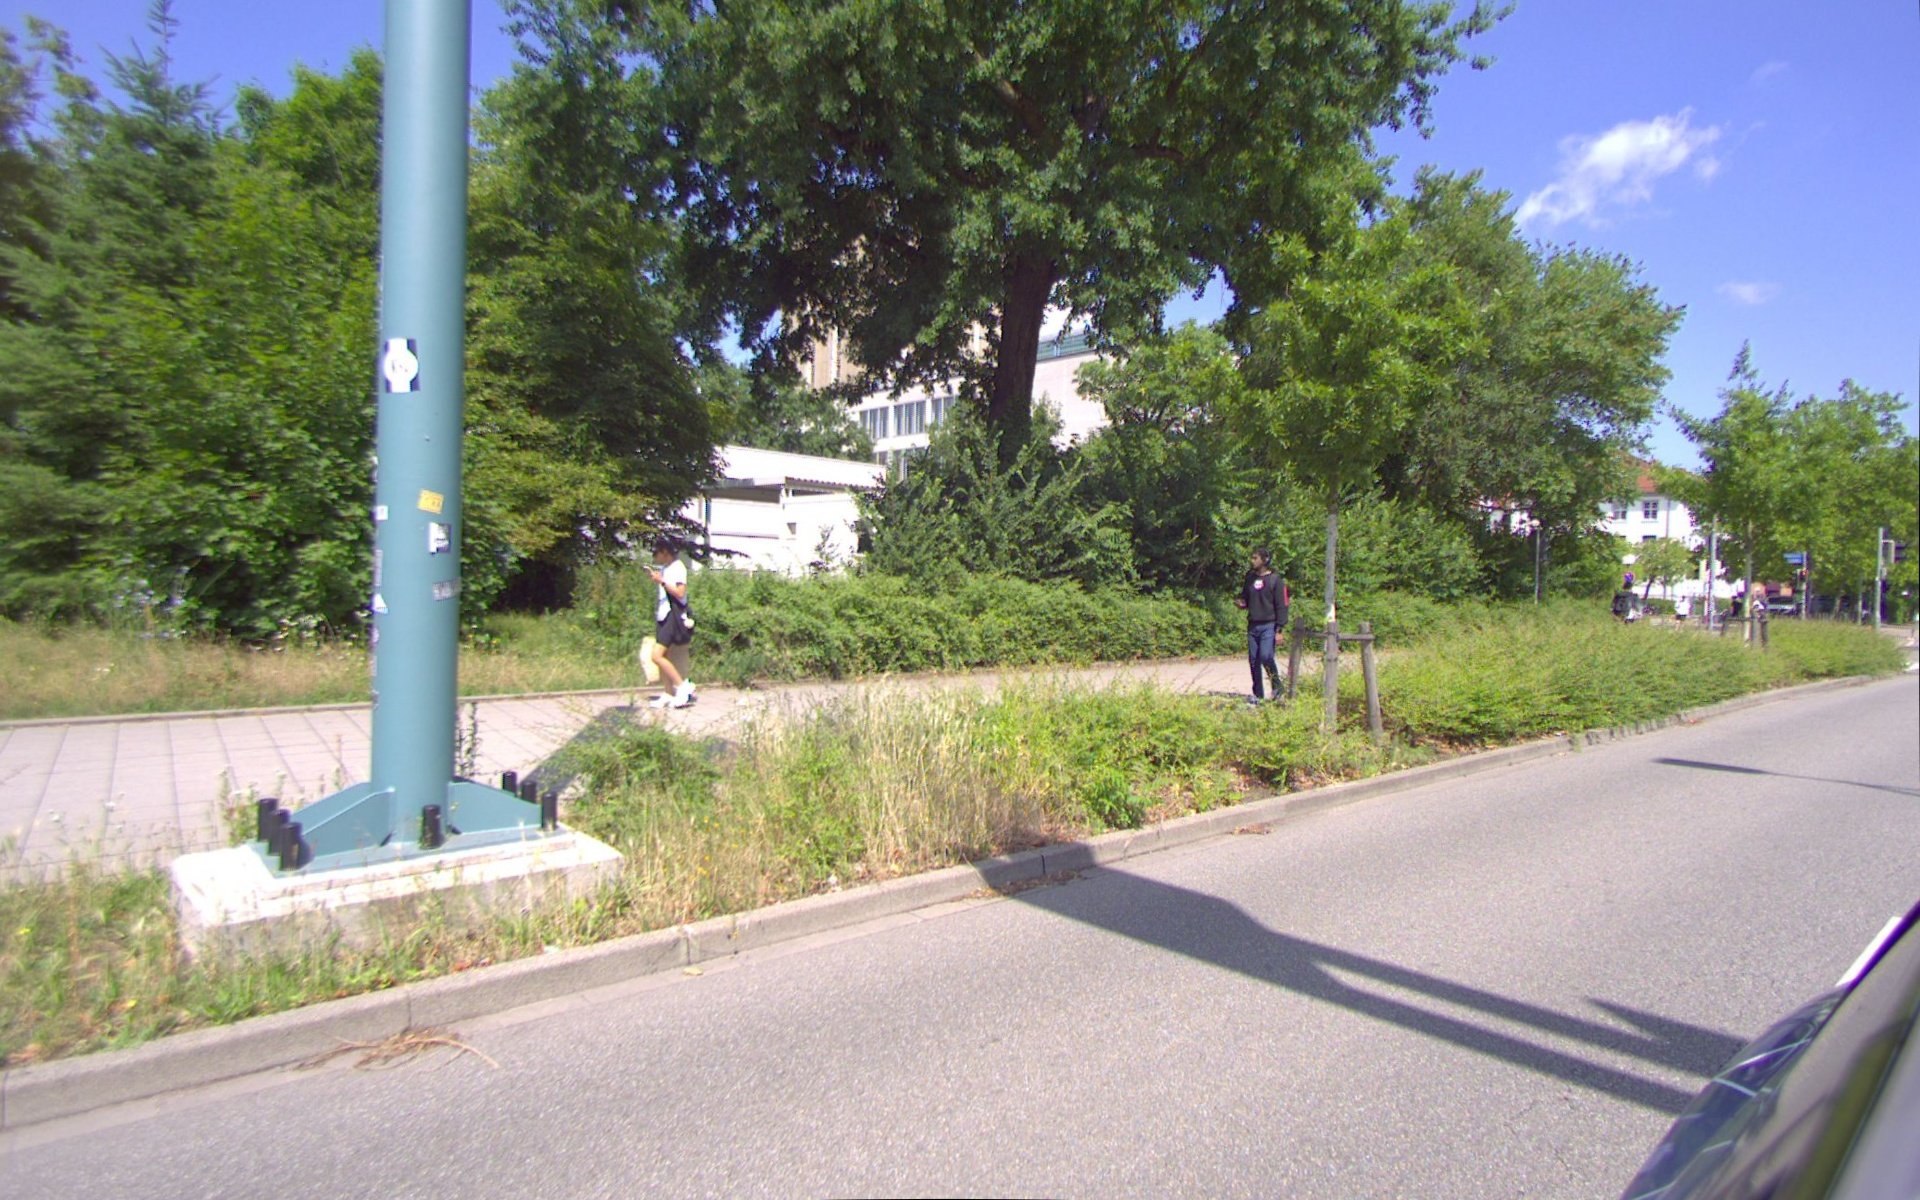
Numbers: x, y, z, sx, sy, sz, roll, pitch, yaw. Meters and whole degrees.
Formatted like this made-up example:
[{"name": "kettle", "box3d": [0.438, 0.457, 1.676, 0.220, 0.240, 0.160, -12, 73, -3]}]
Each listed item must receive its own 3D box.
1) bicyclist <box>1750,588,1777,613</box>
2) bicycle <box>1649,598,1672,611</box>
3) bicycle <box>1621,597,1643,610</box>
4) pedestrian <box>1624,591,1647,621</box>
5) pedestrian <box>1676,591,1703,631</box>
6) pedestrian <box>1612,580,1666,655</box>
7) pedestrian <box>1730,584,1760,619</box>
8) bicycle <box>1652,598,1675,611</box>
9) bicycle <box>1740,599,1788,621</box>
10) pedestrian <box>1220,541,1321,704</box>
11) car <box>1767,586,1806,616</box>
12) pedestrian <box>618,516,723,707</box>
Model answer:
[{"name": "bicyclist", "box3d": [49.542, 0.035, 62.408, 0.953, 1.462, 1.077, 1, 1, -35]}, {"name": "bicycle", "box3d": [54.825, 0.321, 79.229, 1.425, 0.963, 0.346, 2, 1, 44]}, {"name": "bicycle", "box3d": [53.720, 0.262, 80.918, 1.425, 0.963, 0.346, 2, 1, 44]}, {"name": "pedestrian", "box3d": [37.630, 0.339, 56.369, 1.057, 1.617, 0.960, 2, 1, 35]}, {"name": "pedestrian", "box3d": [34.986, 0.513, 48.528, 0.956, 1.896, 0.877, 0, 1, -45]}, {"name": "pedestrian", "box3d": [16.301, 0.414, 24.284, 0.913, 1.743, 0.815, 0, 1, -39]}, {"name": "pedestrian", "box3d": [44.697, 0.073, 57.641, 0.953, 1.950, 1.033, 1, 1, -32]}, {"name": "bicycle", "box3d": [55.580, 0.320, 79.995, 1.425, 0.963, 0.346, 2, 1, 44]}, {"name": "bicycle", "box3d": [49.541, 0.596, 62.369, 0.868, 1.267, 2.166, 1, 1, -35]}, {"name": "pedestrian", "box3d": [3.484, 0.229, 11.366, 0.822, 1.743, 0.718, 0, 1, -39]}, {"name": "car", "box3d": [60.018, 0.088, 73.463, 1.992, 2.080, 4.166, 2, 1, 41]}, {"name": "pedestrian", "box3d": [-2.781, 0.095, 9.710, 0.733, 1.743, 0.724, 0, 1, -39]}]
